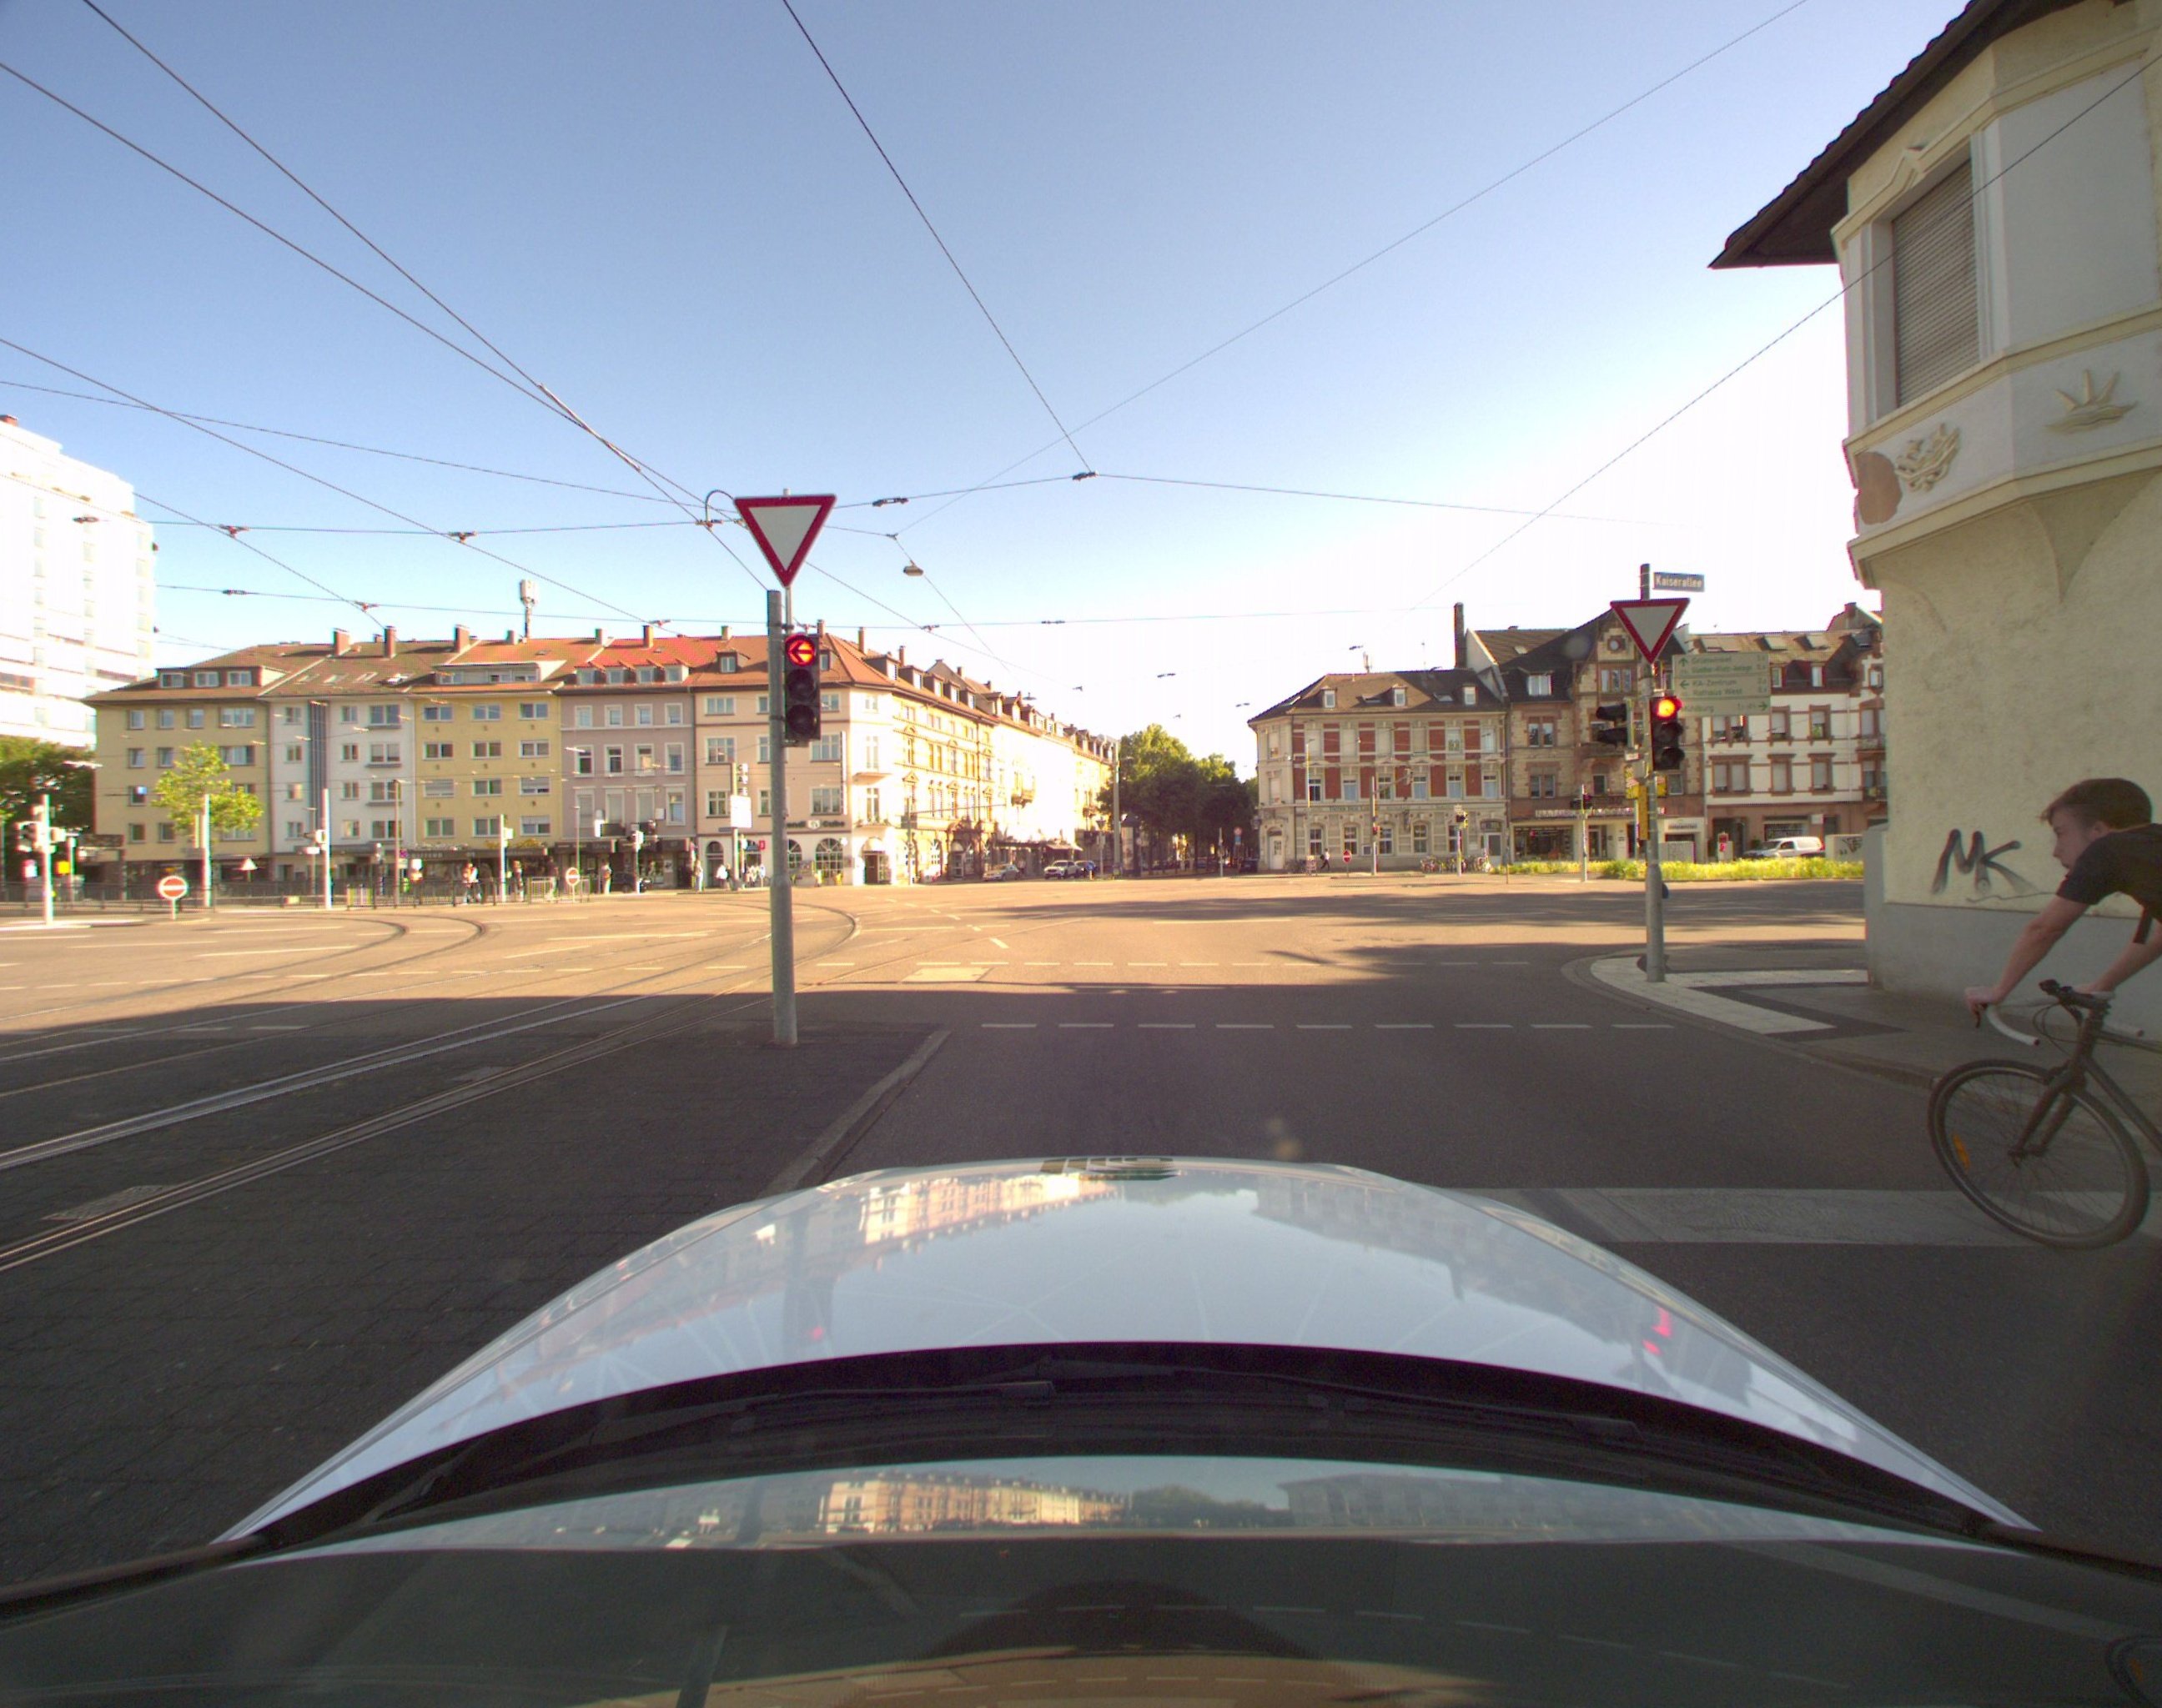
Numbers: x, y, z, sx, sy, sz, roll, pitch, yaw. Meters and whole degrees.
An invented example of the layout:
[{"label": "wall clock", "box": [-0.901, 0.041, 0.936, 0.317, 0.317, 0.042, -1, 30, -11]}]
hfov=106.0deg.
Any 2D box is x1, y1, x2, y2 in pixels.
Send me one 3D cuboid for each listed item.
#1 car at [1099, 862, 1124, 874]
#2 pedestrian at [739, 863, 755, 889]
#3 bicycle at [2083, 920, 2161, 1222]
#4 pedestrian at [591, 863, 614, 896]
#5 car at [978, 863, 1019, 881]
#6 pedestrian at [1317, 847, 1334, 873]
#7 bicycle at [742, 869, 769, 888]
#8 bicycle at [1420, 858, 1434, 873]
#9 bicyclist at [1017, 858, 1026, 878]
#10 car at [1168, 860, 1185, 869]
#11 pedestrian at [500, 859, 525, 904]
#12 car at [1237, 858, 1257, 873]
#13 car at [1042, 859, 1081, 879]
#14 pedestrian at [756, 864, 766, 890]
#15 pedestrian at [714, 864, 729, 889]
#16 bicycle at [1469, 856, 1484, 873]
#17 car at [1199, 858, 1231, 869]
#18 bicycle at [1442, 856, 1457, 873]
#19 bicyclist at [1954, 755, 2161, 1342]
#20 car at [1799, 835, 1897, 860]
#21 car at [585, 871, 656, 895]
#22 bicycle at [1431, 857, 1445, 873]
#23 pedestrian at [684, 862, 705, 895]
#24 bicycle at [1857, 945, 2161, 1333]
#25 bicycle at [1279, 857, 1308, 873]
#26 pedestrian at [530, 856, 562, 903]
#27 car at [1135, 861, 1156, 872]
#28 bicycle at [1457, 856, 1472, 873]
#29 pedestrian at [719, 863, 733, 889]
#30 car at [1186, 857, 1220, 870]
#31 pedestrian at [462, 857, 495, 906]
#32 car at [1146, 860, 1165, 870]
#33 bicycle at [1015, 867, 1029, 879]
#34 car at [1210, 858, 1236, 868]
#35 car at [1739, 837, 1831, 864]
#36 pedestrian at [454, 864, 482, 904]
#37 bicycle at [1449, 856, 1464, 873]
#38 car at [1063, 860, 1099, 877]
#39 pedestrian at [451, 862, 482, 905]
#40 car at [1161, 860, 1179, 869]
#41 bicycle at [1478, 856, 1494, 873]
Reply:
[{"label": "car", "box": [3.830, 1.707, 102.180, 1.977, 1.404, 4.189, -1, 0, 18]}, {"label": "pedestrian", "box": [-21.670, 1.424, 52.777, 0.620, 1.682, 0.747, -2, -1, 44]}, {"label": "bicycle", "box": [4.507, 0.862, 2.493, 0.568, 1.165, 1.890, -1, 0, 2]}, {"label": "pedestrian", "box": [-24.904, 1.305, 42.383, 0.764, 1.682, 0.628, -1, 0, 1]}, {"label": "car", "box": [-6.759, 1.474, 67.367, 1.977, 1.361, 3.836, -1, 0, 18]}, {"label": "pedestrian", "box": [16.866, 0.416, 56.263, 1.029, 1.712, 0.631, -1, -1, 10]}, {"label": "bicycle", "box": [-23.092, 1.740, 57.714, 1.714, 1.276, 0.385, -1, 0, -16]}, {"label": "bicycle", "box": [22.483, 0.732, 52.984, 0.483, 0.914, 1.789, -1, 0, 12]}, {"label": "bicyclist", "box": [-4.768, 1.091, 65.475, 0.486, 1.601, 0.668, -1, 0, 12]}, {"label": "car", "box": [16.026, 1.731, 136.425, 1.977, 1.404, 4.189, -1, 0, 18]}, {"label": "pedestrian", "box": [-23.061, 1.109, 33.039, 0.558, 1.786, 0.560, -1, 0, 1]}, {"label": "car", "box": [16.799, 1.129, 82.299, 1.742, 1.420, 4.016, -1, 0, 14]}, {"label": "car", "box": [-1.590, 1.215, 67.674, 1.977, 1.516, 4.189, -1, 0, 18]}, {"label": "pedestrian", "box": [-15.831, 1.134, 40.262, 0.364, 1.253, 0.449, -1, 0, -10]}, {"label": "pedestrian", "box": [-24.879, 1.567, 56.338, 0.740, 1.682, 0.626, -1, 0, -10]}, {"label": "bicycle", "box": [25.629, 0.671, 52.769, 0.483, 1.020, 1.789, -1, 0, 12]}, {"label": "car", "box": [17.334, 1.221, 105.167, 3.959, 1.288, 1.700, -1, 0, 13]}, {"label": "bicycle", "box": [23.855, 0.684, 52.762, 0.483, 1.020, 1.789, -1, 0, 12]}, {"label": "bicyclist", "box": [3.562, 0.580, 2.505, 0.649, 1.767, 0.995, -1, 0, 2]}, {"label": "car", "box": [44.603, -0.380, 47.409, 4.044, 1.300, 1.723, -1, 0, 2]}, {"label": "car", "box": [-30.332, 1.898, 53.703, 3.711, 1.491, 1.820, 0, -1, 4]}, {"label": "bicycle", "box": [23.160, 0.722, 52.881, 0.483, 1.020, 1.789, -1, 0, 12]}, {"label": "pedestrian", "box": [-19.961, 1.269, 42.092, 0.738, 1.682, 0.628, -1, 0, 1]}, {"label": "bicycle", "box": [3.564, 0.923, 2.507, 0.568, 1.058, 1.890, -1, 0, 2]}, {"label": "bicycle", "box": [14.913, 0.750, 57.145, 1.940, 1.054, 0.717, -1, 0, 11]}, {"label": "pedestrian", "box": [-21.491, 1.021, 32.706, 0.764, 1.829, 0.723, -1, 0, 1]}, {"label": "car", "box": [9.243, 1.808, 116.828, 1.977, 1.404, 4.189, -1, 0, 18]}, {"label": "bicycle", "box": [24.818, 0.676, 52.721, 0.483, 1.020, 1.789, -1, 0, 12]}, {"label": "pedestrian", "box": [-23.074, 1.407, 52.935, 0.744, 1.682, 0.623, -1, 0, -23]}, {"label": "car", "box": [14.961, 1.152, 99.513, 3.959, 1.454, 1.687, -1, 0, 13]}, {"label": "pedestrian", "box": [-23.209, 1.062, 31.374, 0.625, 1.850, 0.778, -1, 0, 1]}, {"label": "car", "box": [11.197, 1.683, 122.507, 1.977, 1.404, 4.189, -1, 0, 18]}, {"label": "bicycle", "box": [-4.762, 1.529, 65.573, 0.650, 1.000, 1.671, -1, -1, 14]}, {"label": "car", "box": [19.378, 1.209, 111.195, 3.409, 1.239, 1.582, -1, 0, 13]}, {"label": "car", "box": [45.293, -0.243, 52.457, 4.239, 1.622, 1.999, -1, 0, -1]}, {"label": "pedestrian", "box": [-24.941, 1.202, 33.149, 0.696, 1.581, 0.560, -1, 0, 1]}, {"label": "bicycle", "box": [24.315, 0.681, 52.812, 0.483, 1.020, 1.789, -1, 0, 12]}, {"label": "car", "box": [0.031, 1.308, 73.811, 1.977, 1.404, 4.189, -1, 0, 18]}, {"label": "pedestrian", "box": [-24.106, 1.141, 31.958, 0.738, 1.635, 0.572, -1, 0, 1]}, {"label": "car", "box": [14.326, 1.702, 131.265, 1.977, 1.404, 4.189, -1, 0, 18]}, {"label": "bicycle", "box": [26.334, 0.667, 52.924, 0.483, 1.020, 1.789, -1, 0, 12]}]
